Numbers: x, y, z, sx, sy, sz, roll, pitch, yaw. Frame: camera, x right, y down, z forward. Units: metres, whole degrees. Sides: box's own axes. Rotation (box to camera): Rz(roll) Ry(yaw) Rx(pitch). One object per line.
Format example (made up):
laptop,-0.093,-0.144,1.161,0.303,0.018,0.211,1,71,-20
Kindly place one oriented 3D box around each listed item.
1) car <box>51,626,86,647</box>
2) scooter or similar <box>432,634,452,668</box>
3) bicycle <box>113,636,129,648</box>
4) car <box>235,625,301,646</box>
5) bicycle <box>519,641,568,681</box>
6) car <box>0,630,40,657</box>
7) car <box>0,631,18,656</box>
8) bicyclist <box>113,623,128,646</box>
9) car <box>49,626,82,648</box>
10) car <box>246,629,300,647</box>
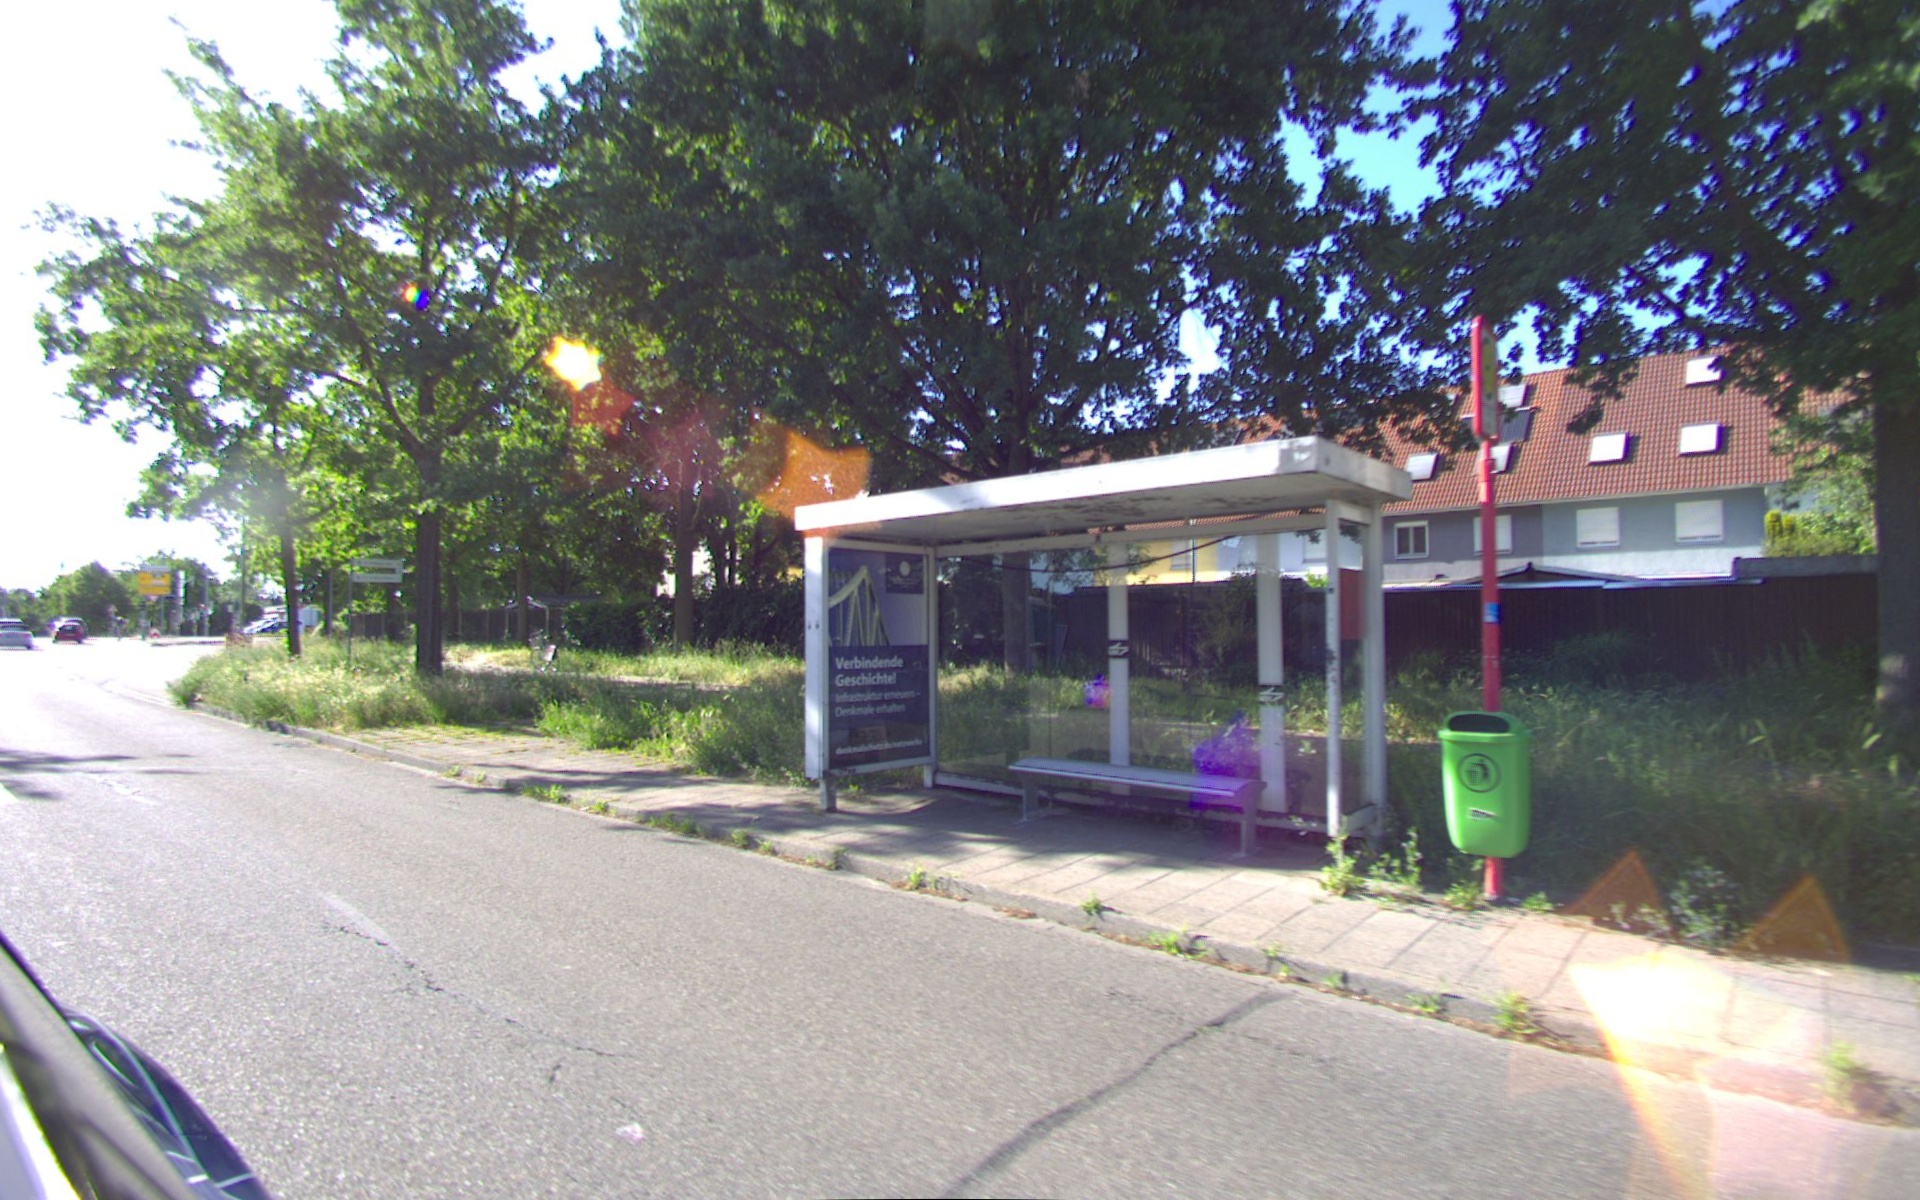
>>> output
car,-73.419,3.012,83.327,1.970,1.656,4.534,3,-4,-43
scooter or similar,-19.019,1.873,37.120,0.531,1.228,1.417,-1,-2,-31
bicycle,-63.801,3.205,76.952,0.740,0.854,1.991,2,-2,-45
car,-70.929,3.715,103.809,2.047,2.029,5.202,-5,-5,42
bicycle,-11.704,1.696,28.412,1.880,1.061,0.500,-2,-3,43
car,-52.694,2.413,56.334,1.970,1.461,4.402,3,-4,-44
car,-59.792,2.680,62.894,1.726,1.494,3.891,3,-4,-44
bicyclist,-63.825,2.634,76.976,0.736,1.715,1.243,3,-3,-45
car,-63.514,2.657,71.844,1.626,1.494,3.716,3,-4,-43
car,-66.544,3.707,98.017,1.892,1.657,3.983,-5,-5,42
